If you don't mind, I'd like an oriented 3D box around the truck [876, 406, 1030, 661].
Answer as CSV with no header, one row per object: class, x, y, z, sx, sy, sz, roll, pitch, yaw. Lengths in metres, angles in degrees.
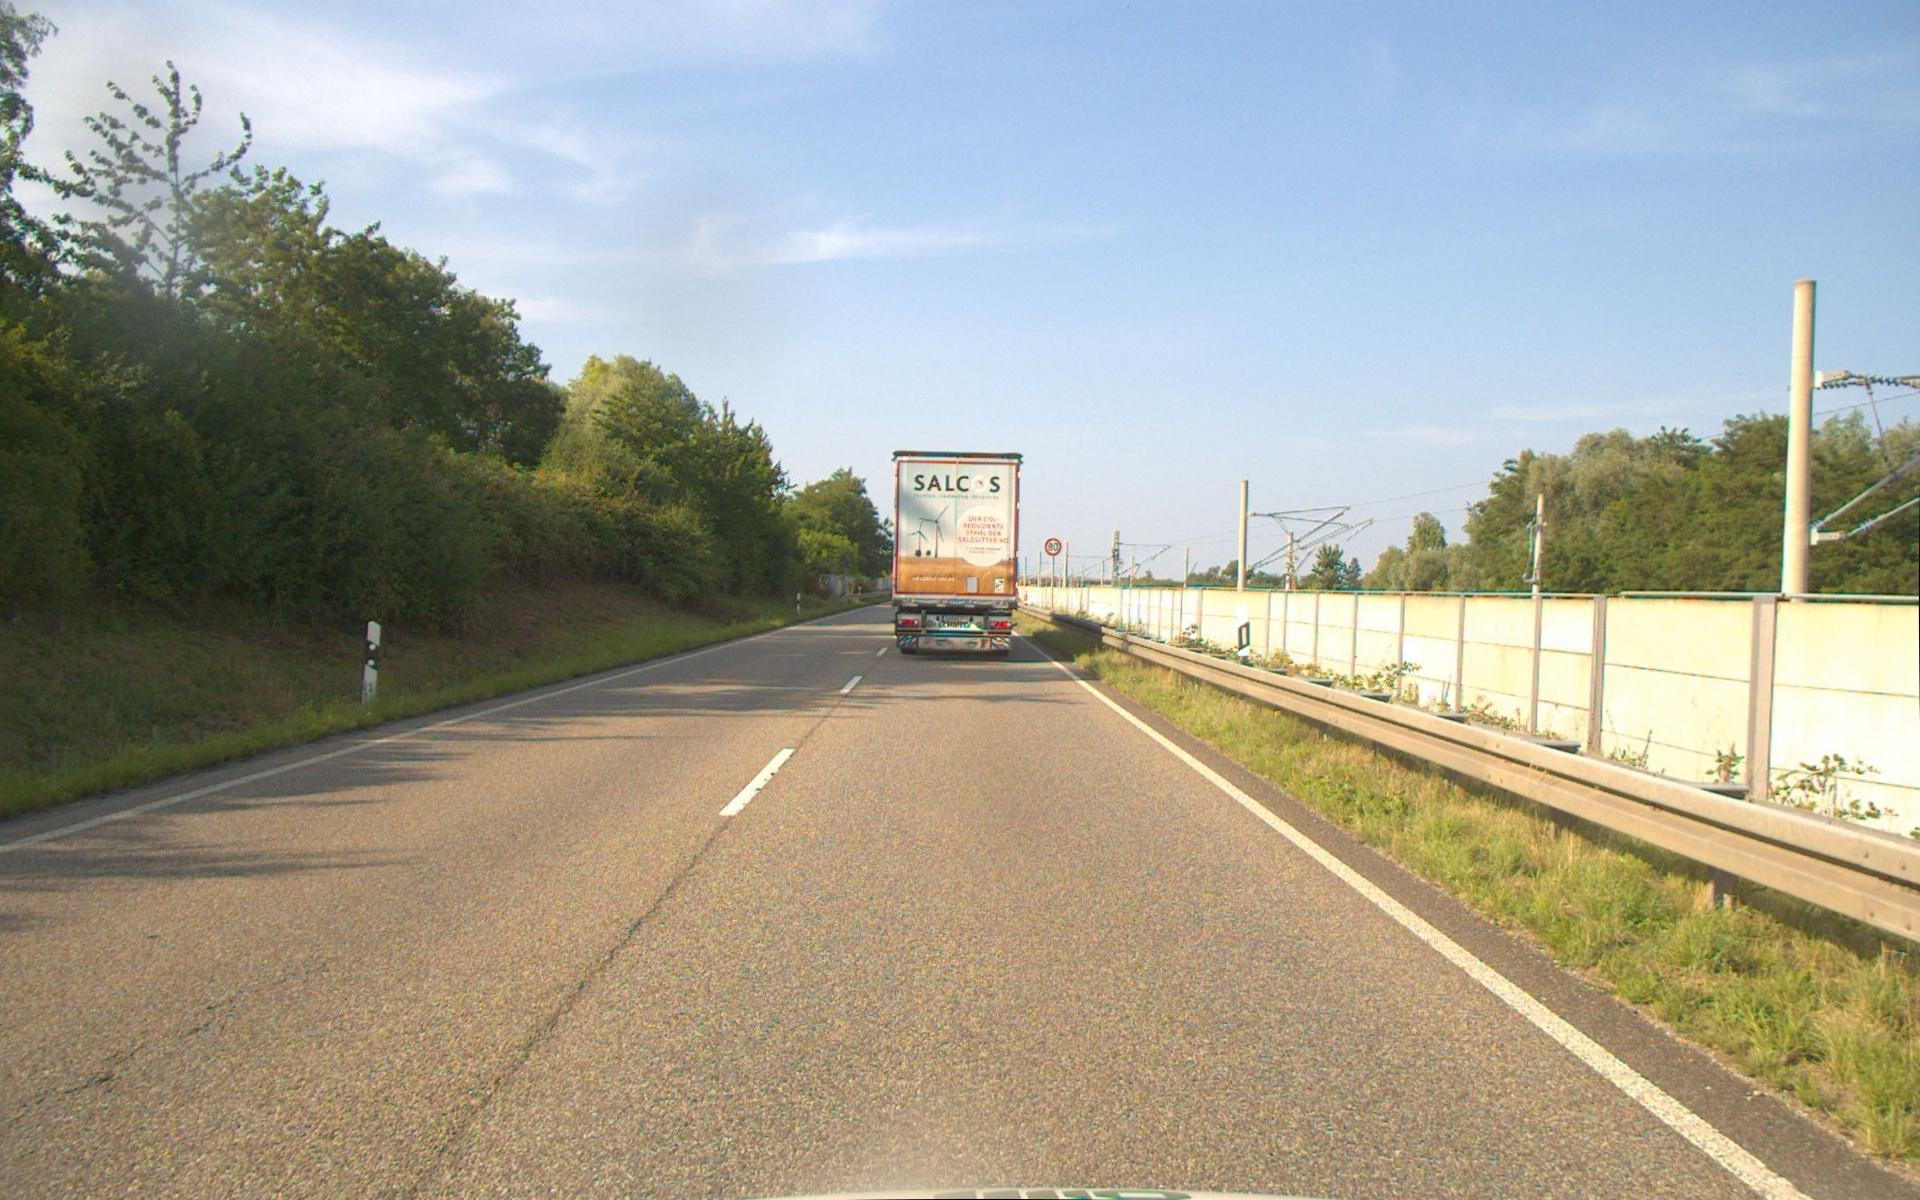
truck,-0.305,-1.378,38.619,2.972,5.006,11.680,1,1,-2
